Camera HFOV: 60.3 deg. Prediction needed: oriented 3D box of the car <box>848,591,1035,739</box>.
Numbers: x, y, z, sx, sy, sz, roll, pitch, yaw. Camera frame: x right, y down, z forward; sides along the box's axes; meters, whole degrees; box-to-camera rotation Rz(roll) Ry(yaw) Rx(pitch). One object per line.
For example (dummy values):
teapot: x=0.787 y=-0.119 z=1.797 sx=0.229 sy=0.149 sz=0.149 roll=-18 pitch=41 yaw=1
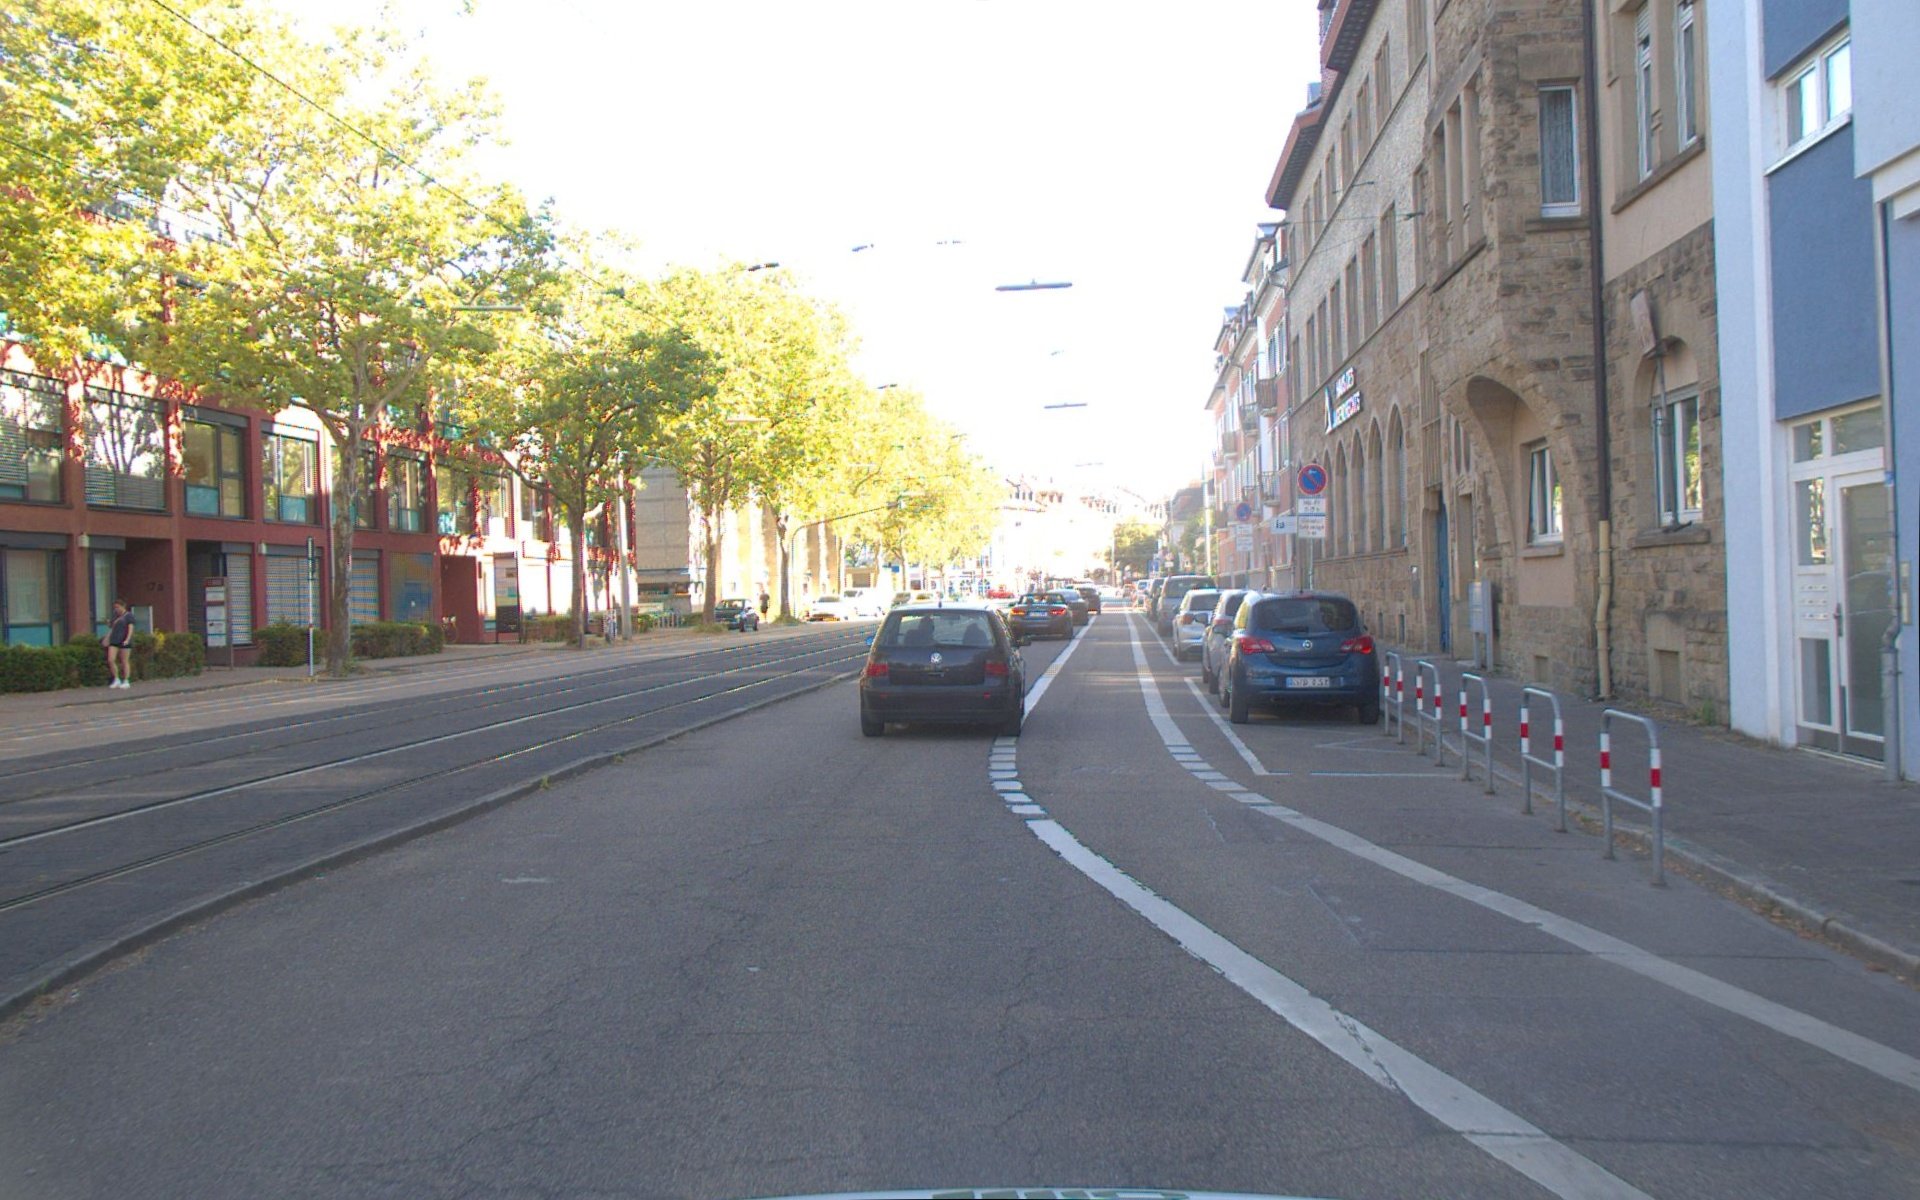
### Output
car: x=-0.098 y=0.634 z=18.398 sx=1.712 sy=1.399 sz=4.002 roll=-2 pitch=1 yaw=4

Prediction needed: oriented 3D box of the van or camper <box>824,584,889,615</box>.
van or camper: x=-6.820 y=-0.034 z=109.547 sx=2.019 sy=1.983 sz=5.186 roll=1 pitch=1 yaw=25

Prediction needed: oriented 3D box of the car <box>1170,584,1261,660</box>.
car: x=5.394 y=0.420 z=35.256 sx=1.677 sy=1.527 sz=4.229 roll=0 pitch=0 yaw=6

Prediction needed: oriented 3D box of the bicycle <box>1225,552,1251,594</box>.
bicycle: x=8.043 y=-0.780 z=47.906 sx=0.504 sy=1.159 sz=2.260 roll=-3 pitch=0 yaw=5

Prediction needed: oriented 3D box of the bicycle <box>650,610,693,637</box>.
bicycle: x=-14.293 y=1.148 z=81.939 sx=1.966 sy=1.301 sz=0.664 roll=0 pitch=0 yaw=6

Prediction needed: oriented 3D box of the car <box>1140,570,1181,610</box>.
car: x=9.386 y=-0.473 z=77.760 sx=1.667 sy=1.842 sz=4.274 roll=0 pitch=0 yaw=4

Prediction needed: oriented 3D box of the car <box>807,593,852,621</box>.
car: x=-7.807 y=0.414 z=99.243 sx=1.969 sy=1.600 sz=4.696 roll=0 pitch=1 yaw=4

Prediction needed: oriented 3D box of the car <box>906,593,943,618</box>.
car: x=-2.398 y=0.382 z=112.275 sx=1.715 sy=1.544 sz=4.075 roll=-3 pitch=0 yaw=10

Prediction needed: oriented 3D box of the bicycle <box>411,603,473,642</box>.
bicycle: x=-18.008 y=0.771 z=57.534 sx=2.018 sy=1.294 sz=0.619 roll=1 pitch=2 yaw=11

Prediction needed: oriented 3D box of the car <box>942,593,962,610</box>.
car: x=-0.879 y=0.138 z=179.048 sx=1.844 sy=1.698 sz=3.807 roll=0 pitch=1 yaw=4

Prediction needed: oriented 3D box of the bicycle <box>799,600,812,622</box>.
bicycle: x=-8.750 y=0.619 z=93.722 sx=0.569 sy=1.230 sz=1.654 roll=0 pitch=1 yaw=0

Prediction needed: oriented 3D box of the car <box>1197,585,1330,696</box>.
car: x=4.511 y=0.544 z=25.096 sx=1.715 sy=1.527 sz=4.199 roll=0 pitch=0 yaw=7

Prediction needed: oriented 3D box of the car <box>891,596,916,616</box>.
car: x=-4.572 y=0.528 z=133.612 sx=1.537 sy=1.560 sz=3.574 roll=-1 pitch=-1 yaw=5

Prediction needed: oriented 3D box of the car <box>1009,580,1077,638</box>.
car: x=2.458 y=0.225 z=48.132 sx=1.711 sy=1.564 sz=3.894 roll=-2 pitch=1 yaw=6

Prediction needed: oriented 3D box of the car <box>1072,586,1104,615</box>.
car: x=6.892 y=0.004 z=88.882 sx=1.601 sy=1.498 sz=3.732 roll=-1 pitch=0 yaw=5

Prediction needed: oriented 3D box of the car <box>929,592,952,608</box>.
car: x=-1.861 y=-0.044 z=159.595 sx=1.754 sy=1.491 sz=3.838 roll=1 pitch=1 yaw=5

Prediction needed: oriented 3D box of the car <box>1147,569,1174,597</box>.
car: x=13.727 y=-1.166 z=113.305 sx=1.722 sy=1.870 sz=3.550 roll=0 pitch=1 yaw=5

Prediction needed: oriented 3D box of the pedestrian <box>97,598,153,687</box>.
pedestrian: x=-16.673 y=0.837 z=33.037 sx=0.612 sy=1.748 sz=0.901 roll=0 pitch=1 yaw=4

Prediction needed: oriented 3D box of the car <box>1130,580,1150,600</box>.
car: x=16.882 y=-0.919 z=155.604 sx=1.779 sy=1.830 sz=4.003 roll=-1 pitch=0 yaw=5

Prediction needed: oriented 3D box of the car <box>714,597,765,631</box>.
car: x=-9.979 y=0.657 z=75.121 sx=1.475 sy=1.479 sz=3.465 roll=-1 pitch=-2 yaw=6

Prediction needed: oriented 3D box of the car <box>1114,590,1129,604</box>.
car: x=19.277 y=-0.336 z=197.468 sx=1.632 sy=1.625 sz=3.652 roll=-1 pitch=0 yaw=5

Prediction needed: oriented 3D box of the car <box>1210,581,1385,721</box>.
car: x=3.973 y=0.544 z=19.991 sx=1.620 sy=1.508 sz=4.003 roll=-1 pitch=0 yaw=5

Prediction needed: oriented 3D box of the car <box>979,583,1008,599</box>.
car: x=4.471 y=-1.197 z=222.632 sx=3.905 sy=2.049 sz=2.000 roll=0 pitch=1 yaw=0

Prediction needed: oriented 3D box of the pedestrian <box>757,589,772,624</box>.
pedestrian: x=-10.640 y=0.346 z=89.998 sx=0.770 sy=1.902 sz=0.669 roll=0 pitch=0 yaw=-9

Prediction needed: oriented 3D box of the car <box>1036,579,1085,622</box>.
car: x=3.958 y=-0.011 z=64.769 sx=1.711 sy=1.564 sz=3.894 roll=-2 pitch=1 yaw=6

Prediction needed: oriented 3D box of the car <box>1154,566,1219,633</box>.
car: x=6.812 y=-0.033 z=50.099 sx=1.716 sy=1.888 sz=4.819 roll=-1 pitch=0 yaw=6
